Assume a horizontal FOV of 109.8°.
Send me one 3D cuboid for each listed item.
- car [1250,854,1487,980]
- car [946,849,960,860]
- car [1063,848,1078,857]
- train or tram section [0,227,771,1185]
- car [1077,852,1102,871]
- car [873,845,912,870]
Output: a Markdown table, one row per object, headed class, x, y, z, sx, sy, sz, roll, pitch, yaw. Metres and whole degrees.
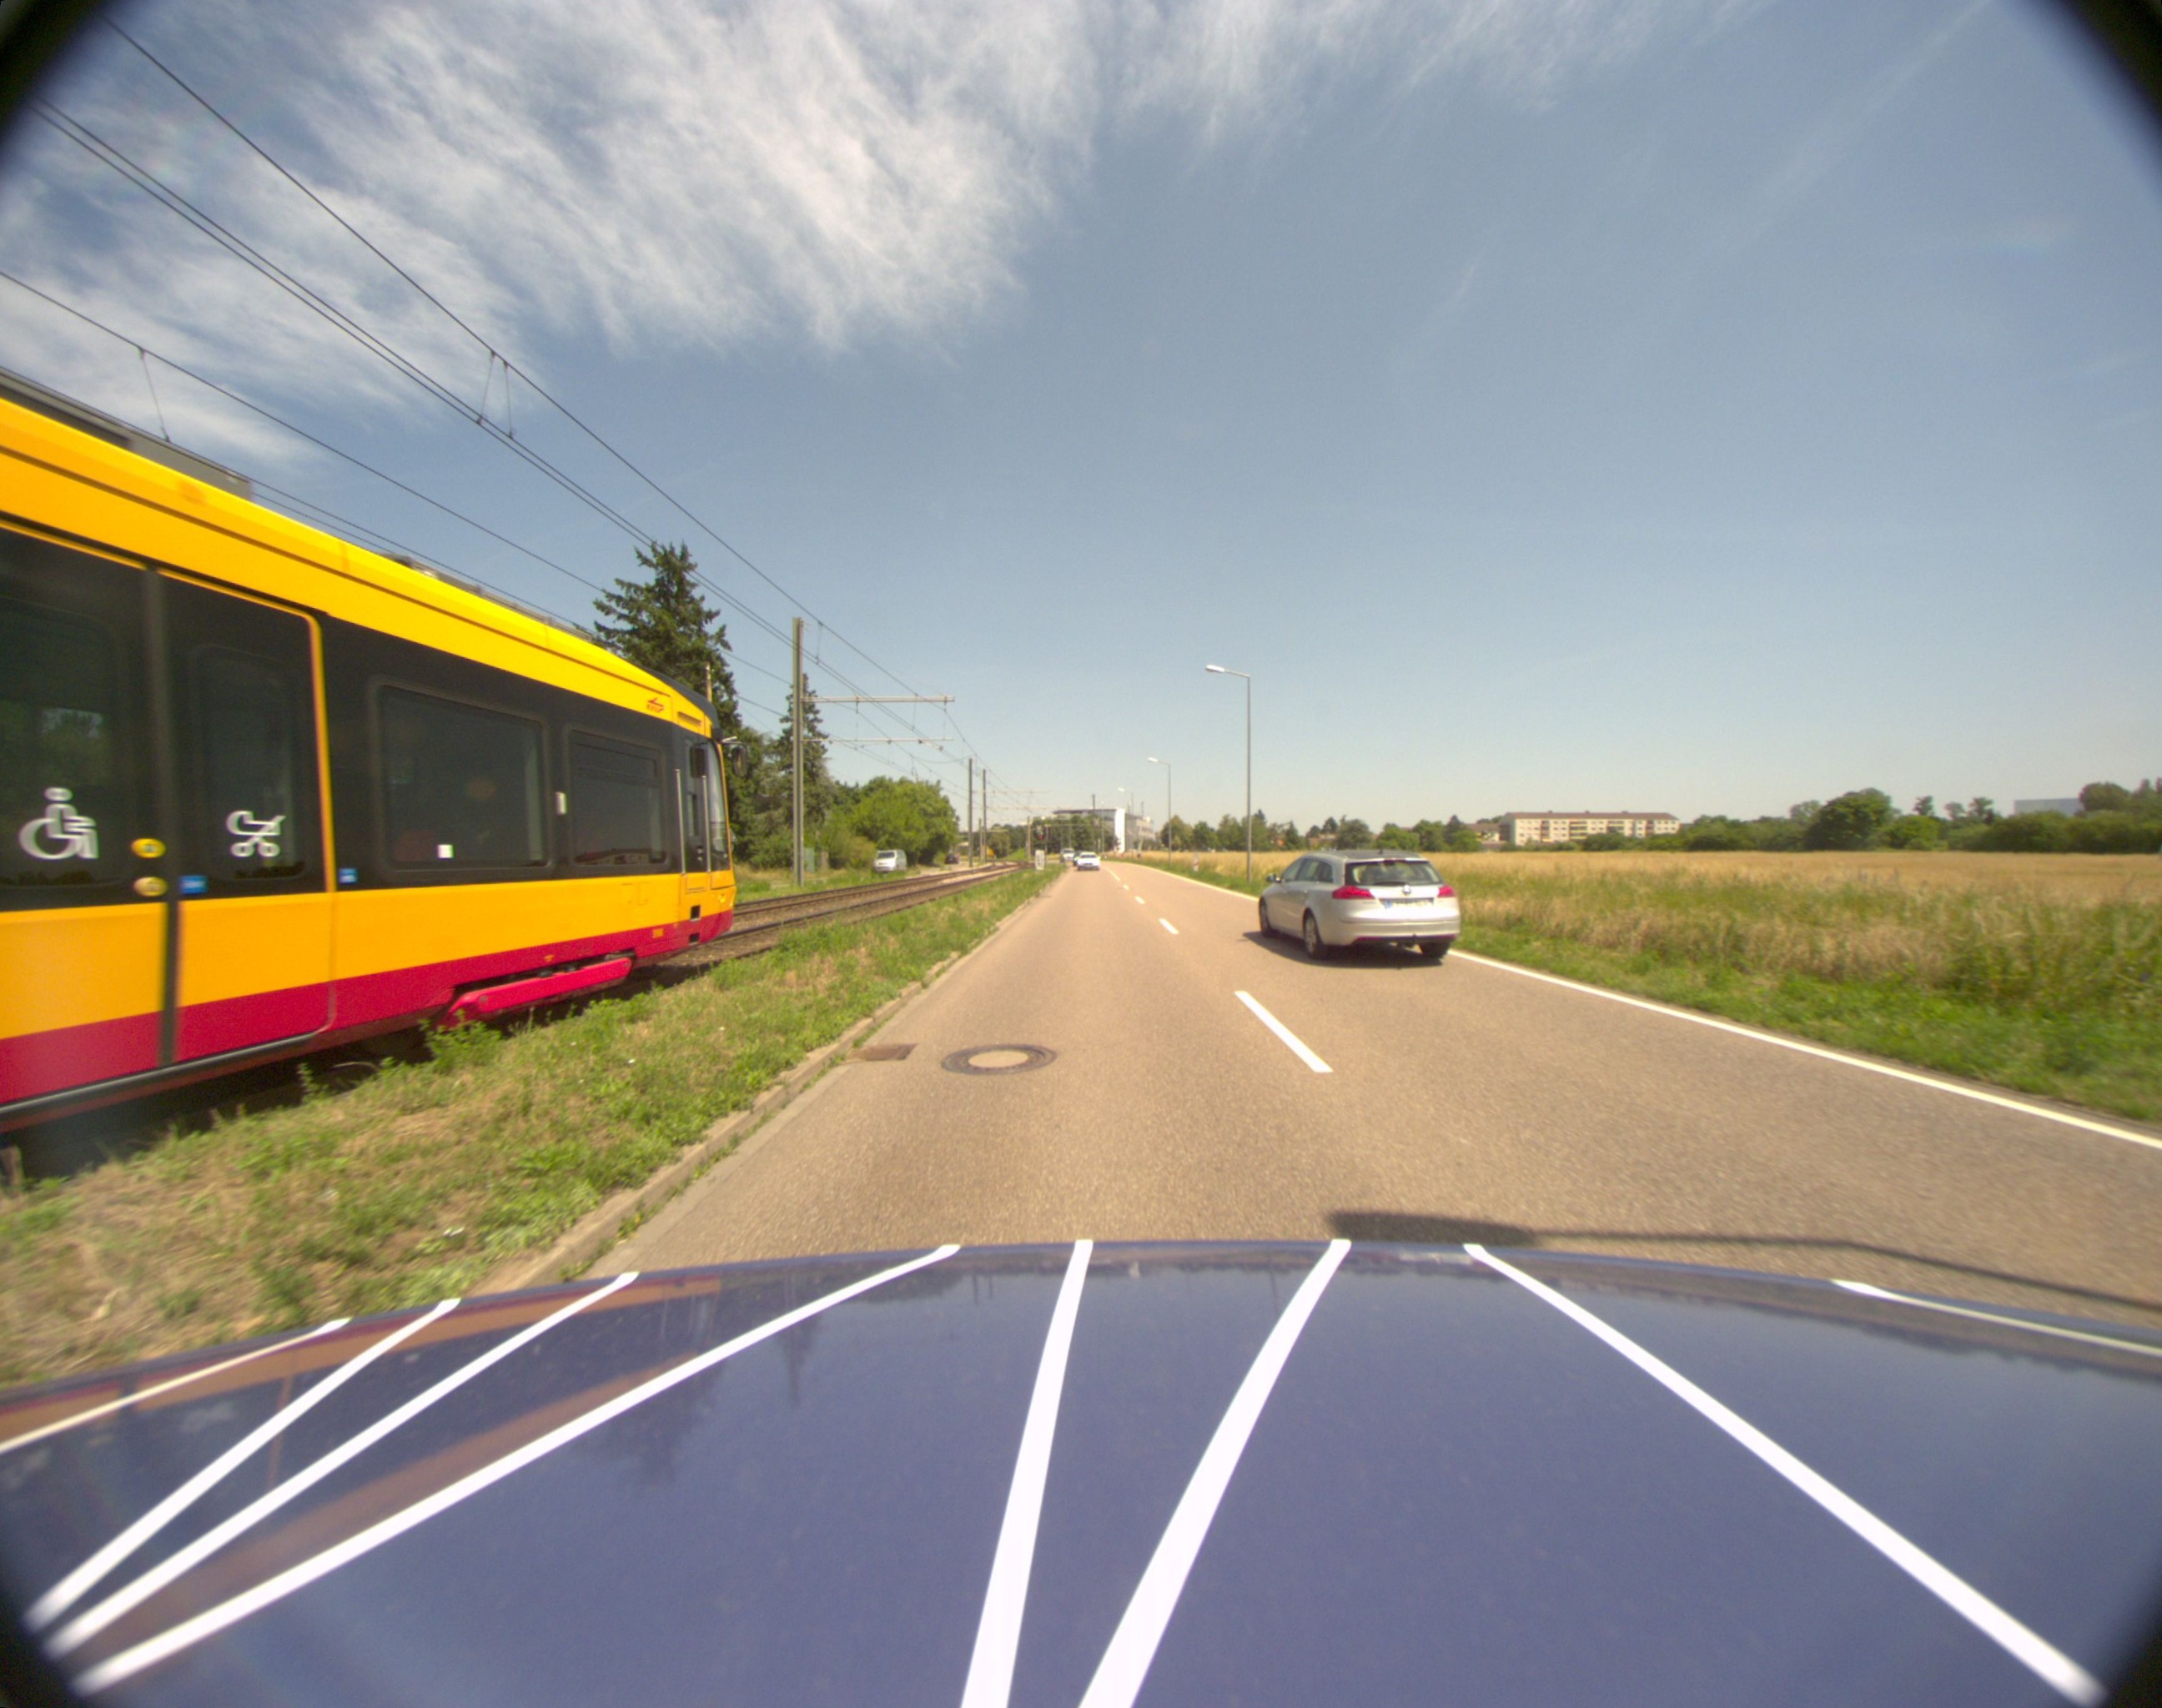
| class | x | y | z | sx | sy | sz | roll | pitch | yaw |
| --- | --- | --- | --- | --- | --- | --- | --- | --- | --- |
| car | 3.937 | 0.753 | 11.367 | 1.839 | 1.458 | 4.678 | -1 | 0 | 1 |
| car | -18.665 | 0.090 | 111.137 | 1.802 | 1.418 | 4.736 | -1 | 1 | -7 |
| car | -1.403 | -0.205 | 103.326 | 1.633 | 1.242 | 3.160 | -1 | 1 | -8 |
| train or tram section | -5.425 | -0.606 | 4.254 | 2.435 | 3.745 | 11.556 | 0 | 1 | 1 |
| car | 0.757 | 0.604 | 62.770 | 1.771 | 1.434 | 4.130 | 0 | 1 | 5 |
| car | -15.531 | 0.233 | 62.711 | 2.042 | 1.871 | 5.066 | 0 | 1 | -1 |
